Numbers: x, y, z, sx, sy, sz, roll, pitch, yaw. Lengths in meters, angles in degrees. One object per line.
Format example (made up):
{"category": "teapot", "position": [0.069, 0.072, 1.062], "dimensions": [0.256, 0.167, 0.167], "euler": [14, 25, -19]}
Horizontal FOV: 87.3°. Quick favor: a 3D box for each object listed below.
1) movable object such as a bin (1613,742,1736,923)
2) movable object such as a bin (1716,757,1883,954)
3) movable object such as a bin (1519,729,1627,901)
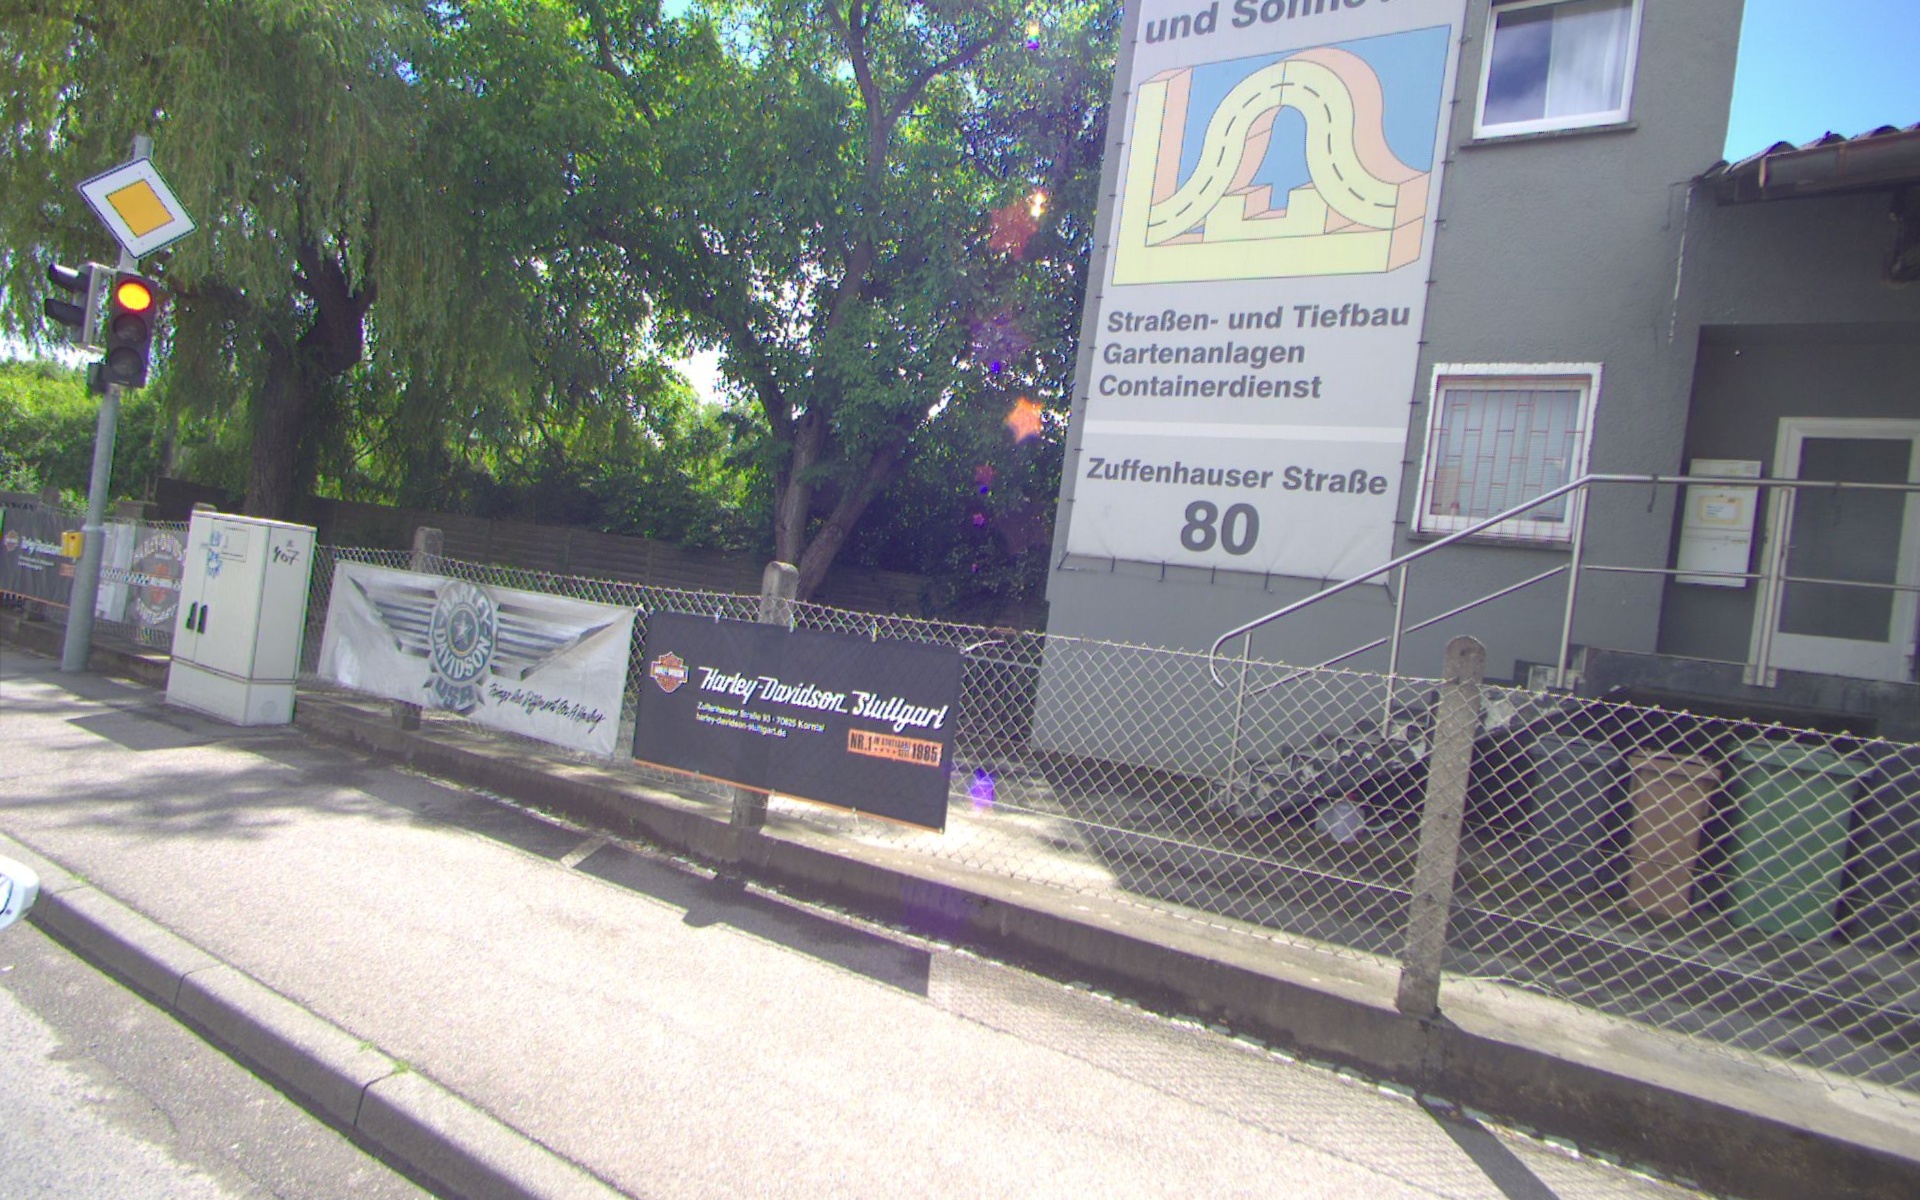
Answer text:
{"category": "movable object such as a bin", "position": [4.258, 1.364, 6.023], "dimensions": [0.466, 0.941, 0.482], "euler": [7, -1, 30]}
{"category": "movable object such as a bin", "position": [4.754, 1.419, 5.732], "dimensions": [0.574, 0.941, 0.482], "euler": [6, -1, 30]}
{"category": "movable object such as a bin", "position": [3.813, 1.316, 6.286], "dimensions": [0.466, 0.941, 0.482], "euler": [7, -1, 30]}
